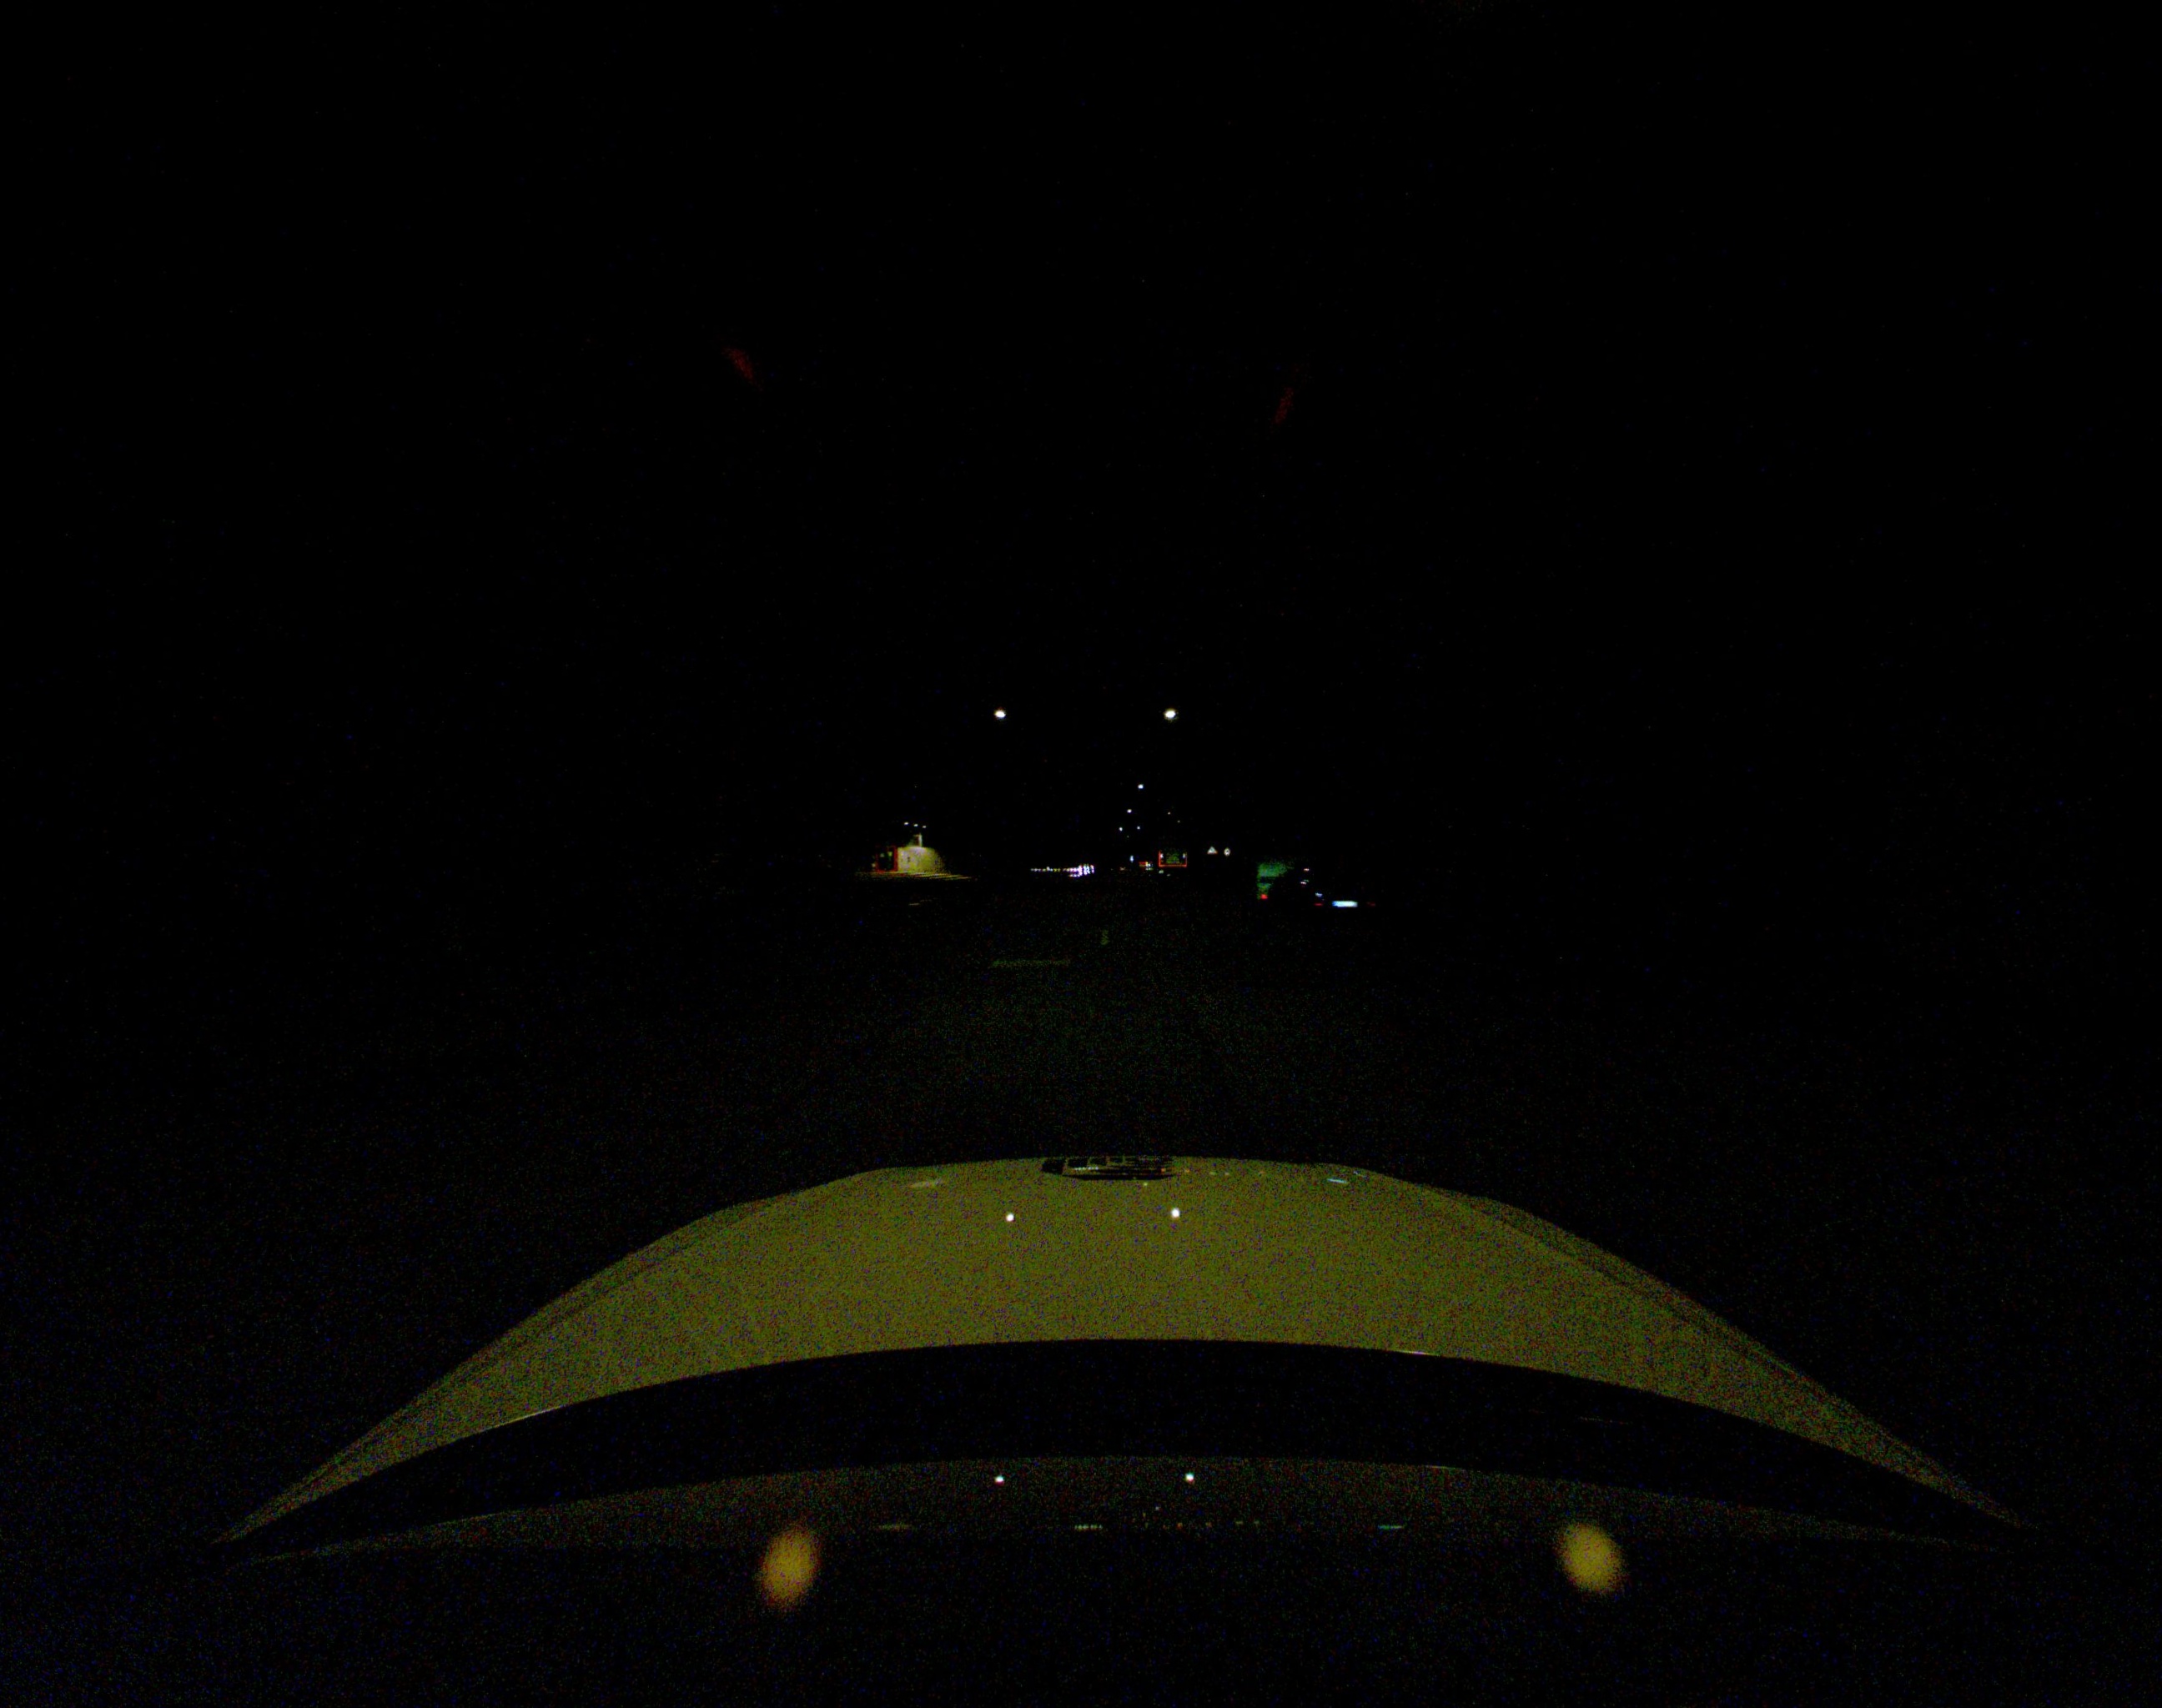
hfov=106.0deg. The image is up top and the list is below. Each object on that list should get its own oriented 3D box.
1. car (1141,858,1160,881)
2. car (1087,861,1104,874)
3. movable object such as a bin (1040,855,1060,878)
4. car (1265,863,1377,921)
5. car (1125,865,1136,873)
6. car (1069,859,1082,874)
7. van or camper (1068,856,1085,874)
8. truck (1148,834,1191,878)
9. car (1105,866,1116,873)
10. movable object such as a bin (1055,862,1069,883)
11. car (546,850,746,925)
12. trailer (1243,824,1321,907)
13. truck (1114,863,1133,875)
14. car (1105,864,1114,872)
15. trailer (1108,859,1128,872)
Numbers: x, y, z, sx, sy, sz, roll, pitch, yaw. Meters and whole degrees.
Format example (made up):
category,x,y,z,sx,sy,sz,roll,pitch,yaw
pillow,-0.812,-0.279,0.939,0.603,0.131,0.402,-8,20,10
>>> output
category,x,y,z,sx,sy,sz,roll,pitch,yaw
car,8.017,1.752,94.199,2.099,2.516,6.379,0,0,5
car,3.623,3.394,205.574,2.500,3.171,7.167,-3,-1,15
movable object such as a bin,-3.596,1.437,93.692,1.553,2.467,2.821,-2,-1,-19
car,6.367,0.947,22.143,1.721,1.386,4.676,0,0,0
car,11.903,3.638,197.212,1.707,1.821,4.017,-1,-2,17
car,-1.110,2.706,175.952,2.510,2.927,7.201,-3,-1,1
van or camper,-0.780,2.022,150.981,2.508,3.094,7.451,-3,-1,3
truck,8.157,0.248,76.337,3.311,3.869,9.331,0,-1,2
car,7.995,4.183,221.332,1.978,1.700,4.224,-1,-2,17
movable object such as a bin,-2.713,2.556,113.375,1.568,2.734,3.695,-4,0,-5
car,-11.876,0.895,22.472,4.416,1.972,2.000,0,0,1
trailer,6.810,0.371,27.982,1.984,2.651,4.005,0,0,5
truck,12.211,4.265,234.424,1.975,3.404,9.031,0,0,26
car,5.898,2.916,168.835,1.714,1.661,4.002,0,-2,3
trailer,6.961,2.139,153.931,1.567,2.161,5.177,-2,-2,-25
